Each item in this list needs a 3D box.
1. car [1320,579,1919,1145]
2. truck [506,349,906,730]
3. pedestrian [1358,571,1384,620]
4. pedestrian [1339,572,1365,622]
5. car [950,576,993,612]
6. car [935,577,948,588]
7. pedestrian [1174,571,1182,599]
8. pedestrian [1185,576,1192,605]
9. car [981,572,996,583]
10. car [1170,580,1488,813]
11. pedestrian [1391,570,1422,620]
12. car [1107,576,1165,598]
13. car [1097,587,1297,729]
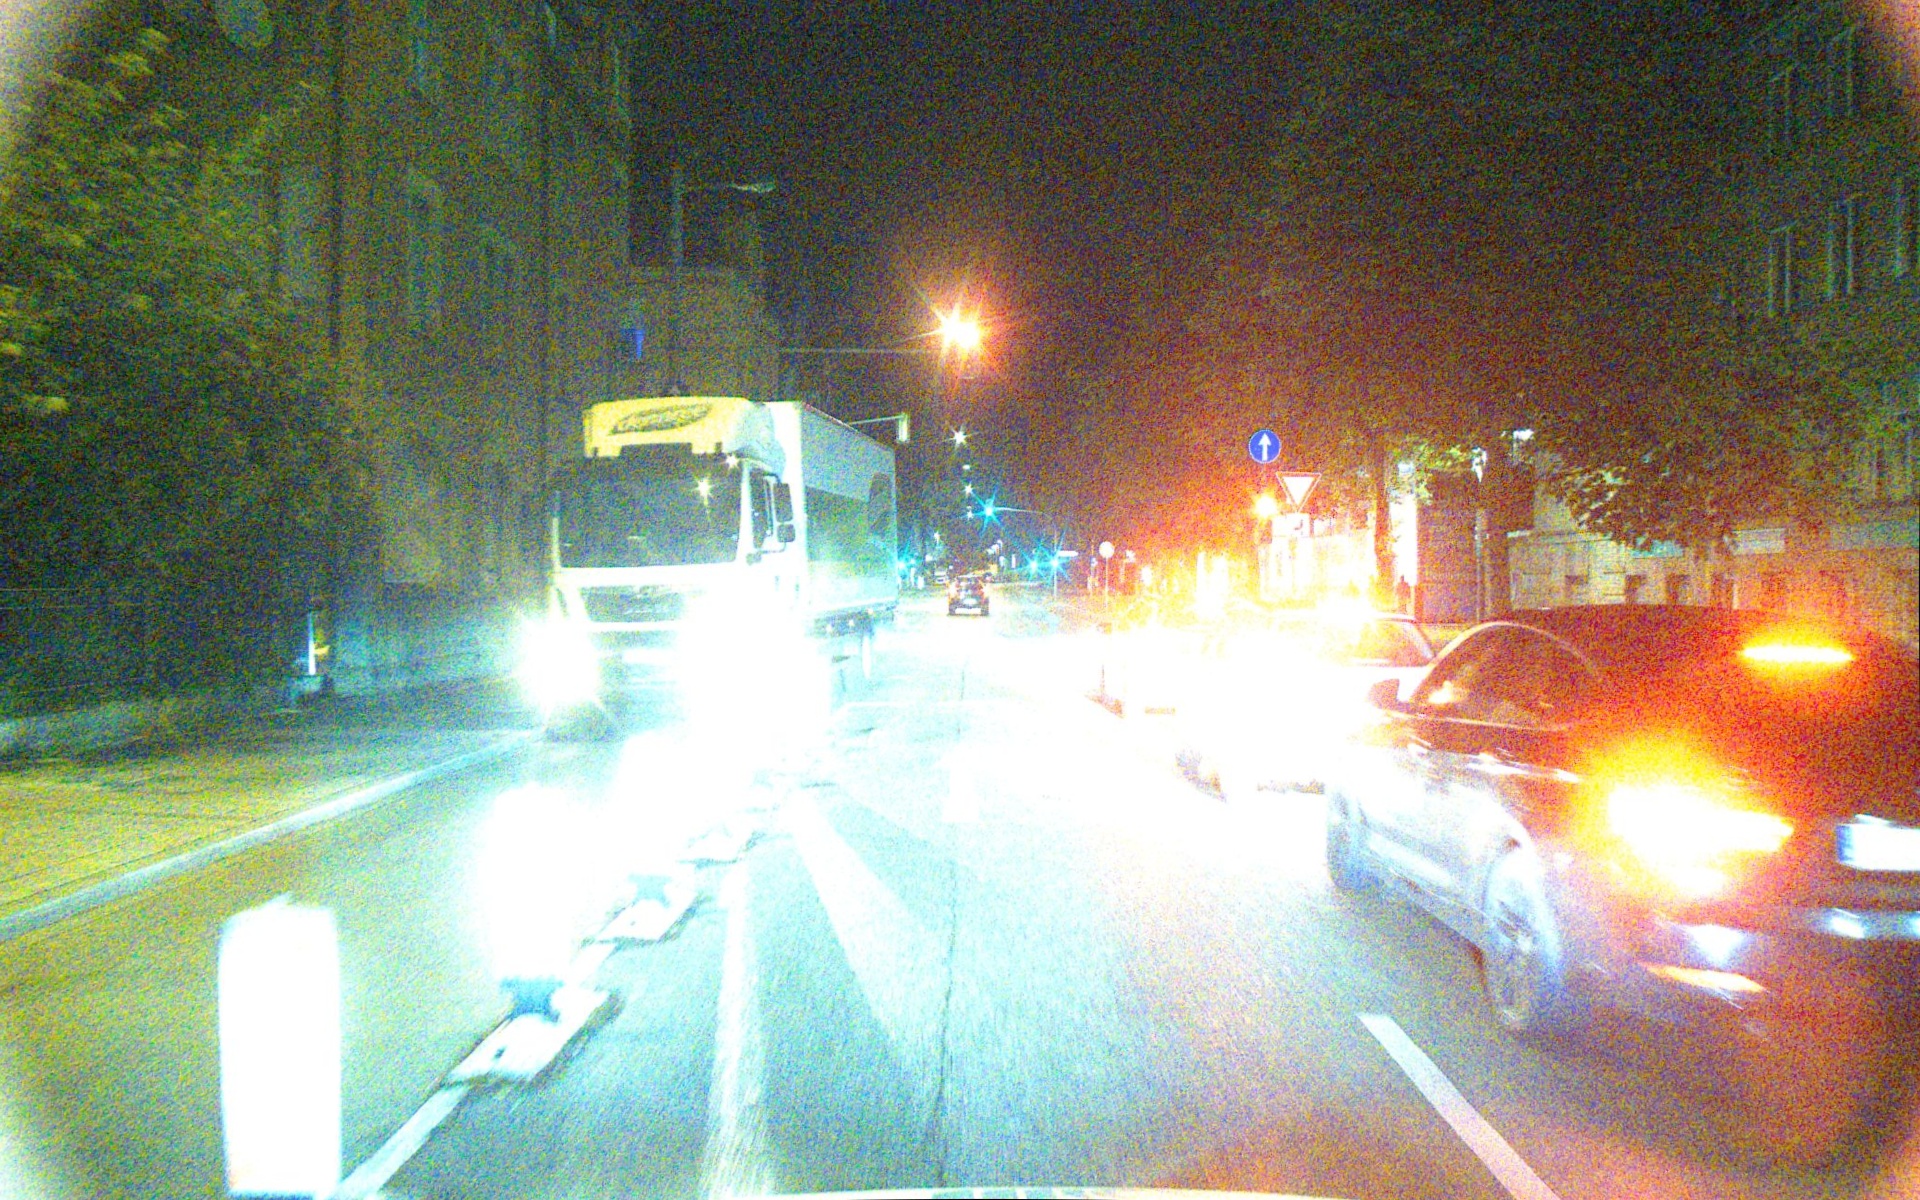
[{"bbox_3d":[2.880,0.716,6.871,1.768,1.520,4.730,2,0,1],"label":"car"},{"bbox_3d":[-2.744,-0.656,21.744,2.697,3.783,10.120,-1,0,6],"label":"truck"},{"bbox_3d":[15.155,-0.171,60.957,0.723,1.800,0.907,-1,0,0],"label":"pedestrian"},{"bbox_3d":[14.399,-0.119,60.787,0.699,1.800,0.907,-1,0,0],"label":"pedestrian"},{"bbox_3d":[0.521,-0.299,78.532,1.953,1.668,3.999,0,0,-1],"label":"car"},{"bbox_3d":[-2.512,-2.397,228.015,1.741,1.414,3.999,-1,1,-2],"label":"car"},{"bbox_3d":[15.871,-1.111,120.321,0.520,2.049,0.670,0,0,0],"label":"pedestrian"},{"bbox_3d":[16.625,-0.700,120.363,0.478,2.049,0.551,0,0,-1],"label":"pedestrian"},{"bbox_3d":[4.163,-3.316,242.851,1.953,1.624,3.998,0,0,-2],"label":"car"},{"bbox_3d":[2.738,0.632,13.139,1.604,1.520,4.000,2,1,0],"label":"car"},{"bbox_3d":[16.398,-0.177,60.777,0.882,1.800,0.907,-1,0,0],"label":"pedestrian"},{"bbox_3d":[12.300,-0.910,115.615,3.903,1.410,1.772,-1,1,3],"label":"car"},{"bbox_3d":[2.714,0.601,19.827,1.694,1.460,4.210,2,1,-1],"label":"car"}]
